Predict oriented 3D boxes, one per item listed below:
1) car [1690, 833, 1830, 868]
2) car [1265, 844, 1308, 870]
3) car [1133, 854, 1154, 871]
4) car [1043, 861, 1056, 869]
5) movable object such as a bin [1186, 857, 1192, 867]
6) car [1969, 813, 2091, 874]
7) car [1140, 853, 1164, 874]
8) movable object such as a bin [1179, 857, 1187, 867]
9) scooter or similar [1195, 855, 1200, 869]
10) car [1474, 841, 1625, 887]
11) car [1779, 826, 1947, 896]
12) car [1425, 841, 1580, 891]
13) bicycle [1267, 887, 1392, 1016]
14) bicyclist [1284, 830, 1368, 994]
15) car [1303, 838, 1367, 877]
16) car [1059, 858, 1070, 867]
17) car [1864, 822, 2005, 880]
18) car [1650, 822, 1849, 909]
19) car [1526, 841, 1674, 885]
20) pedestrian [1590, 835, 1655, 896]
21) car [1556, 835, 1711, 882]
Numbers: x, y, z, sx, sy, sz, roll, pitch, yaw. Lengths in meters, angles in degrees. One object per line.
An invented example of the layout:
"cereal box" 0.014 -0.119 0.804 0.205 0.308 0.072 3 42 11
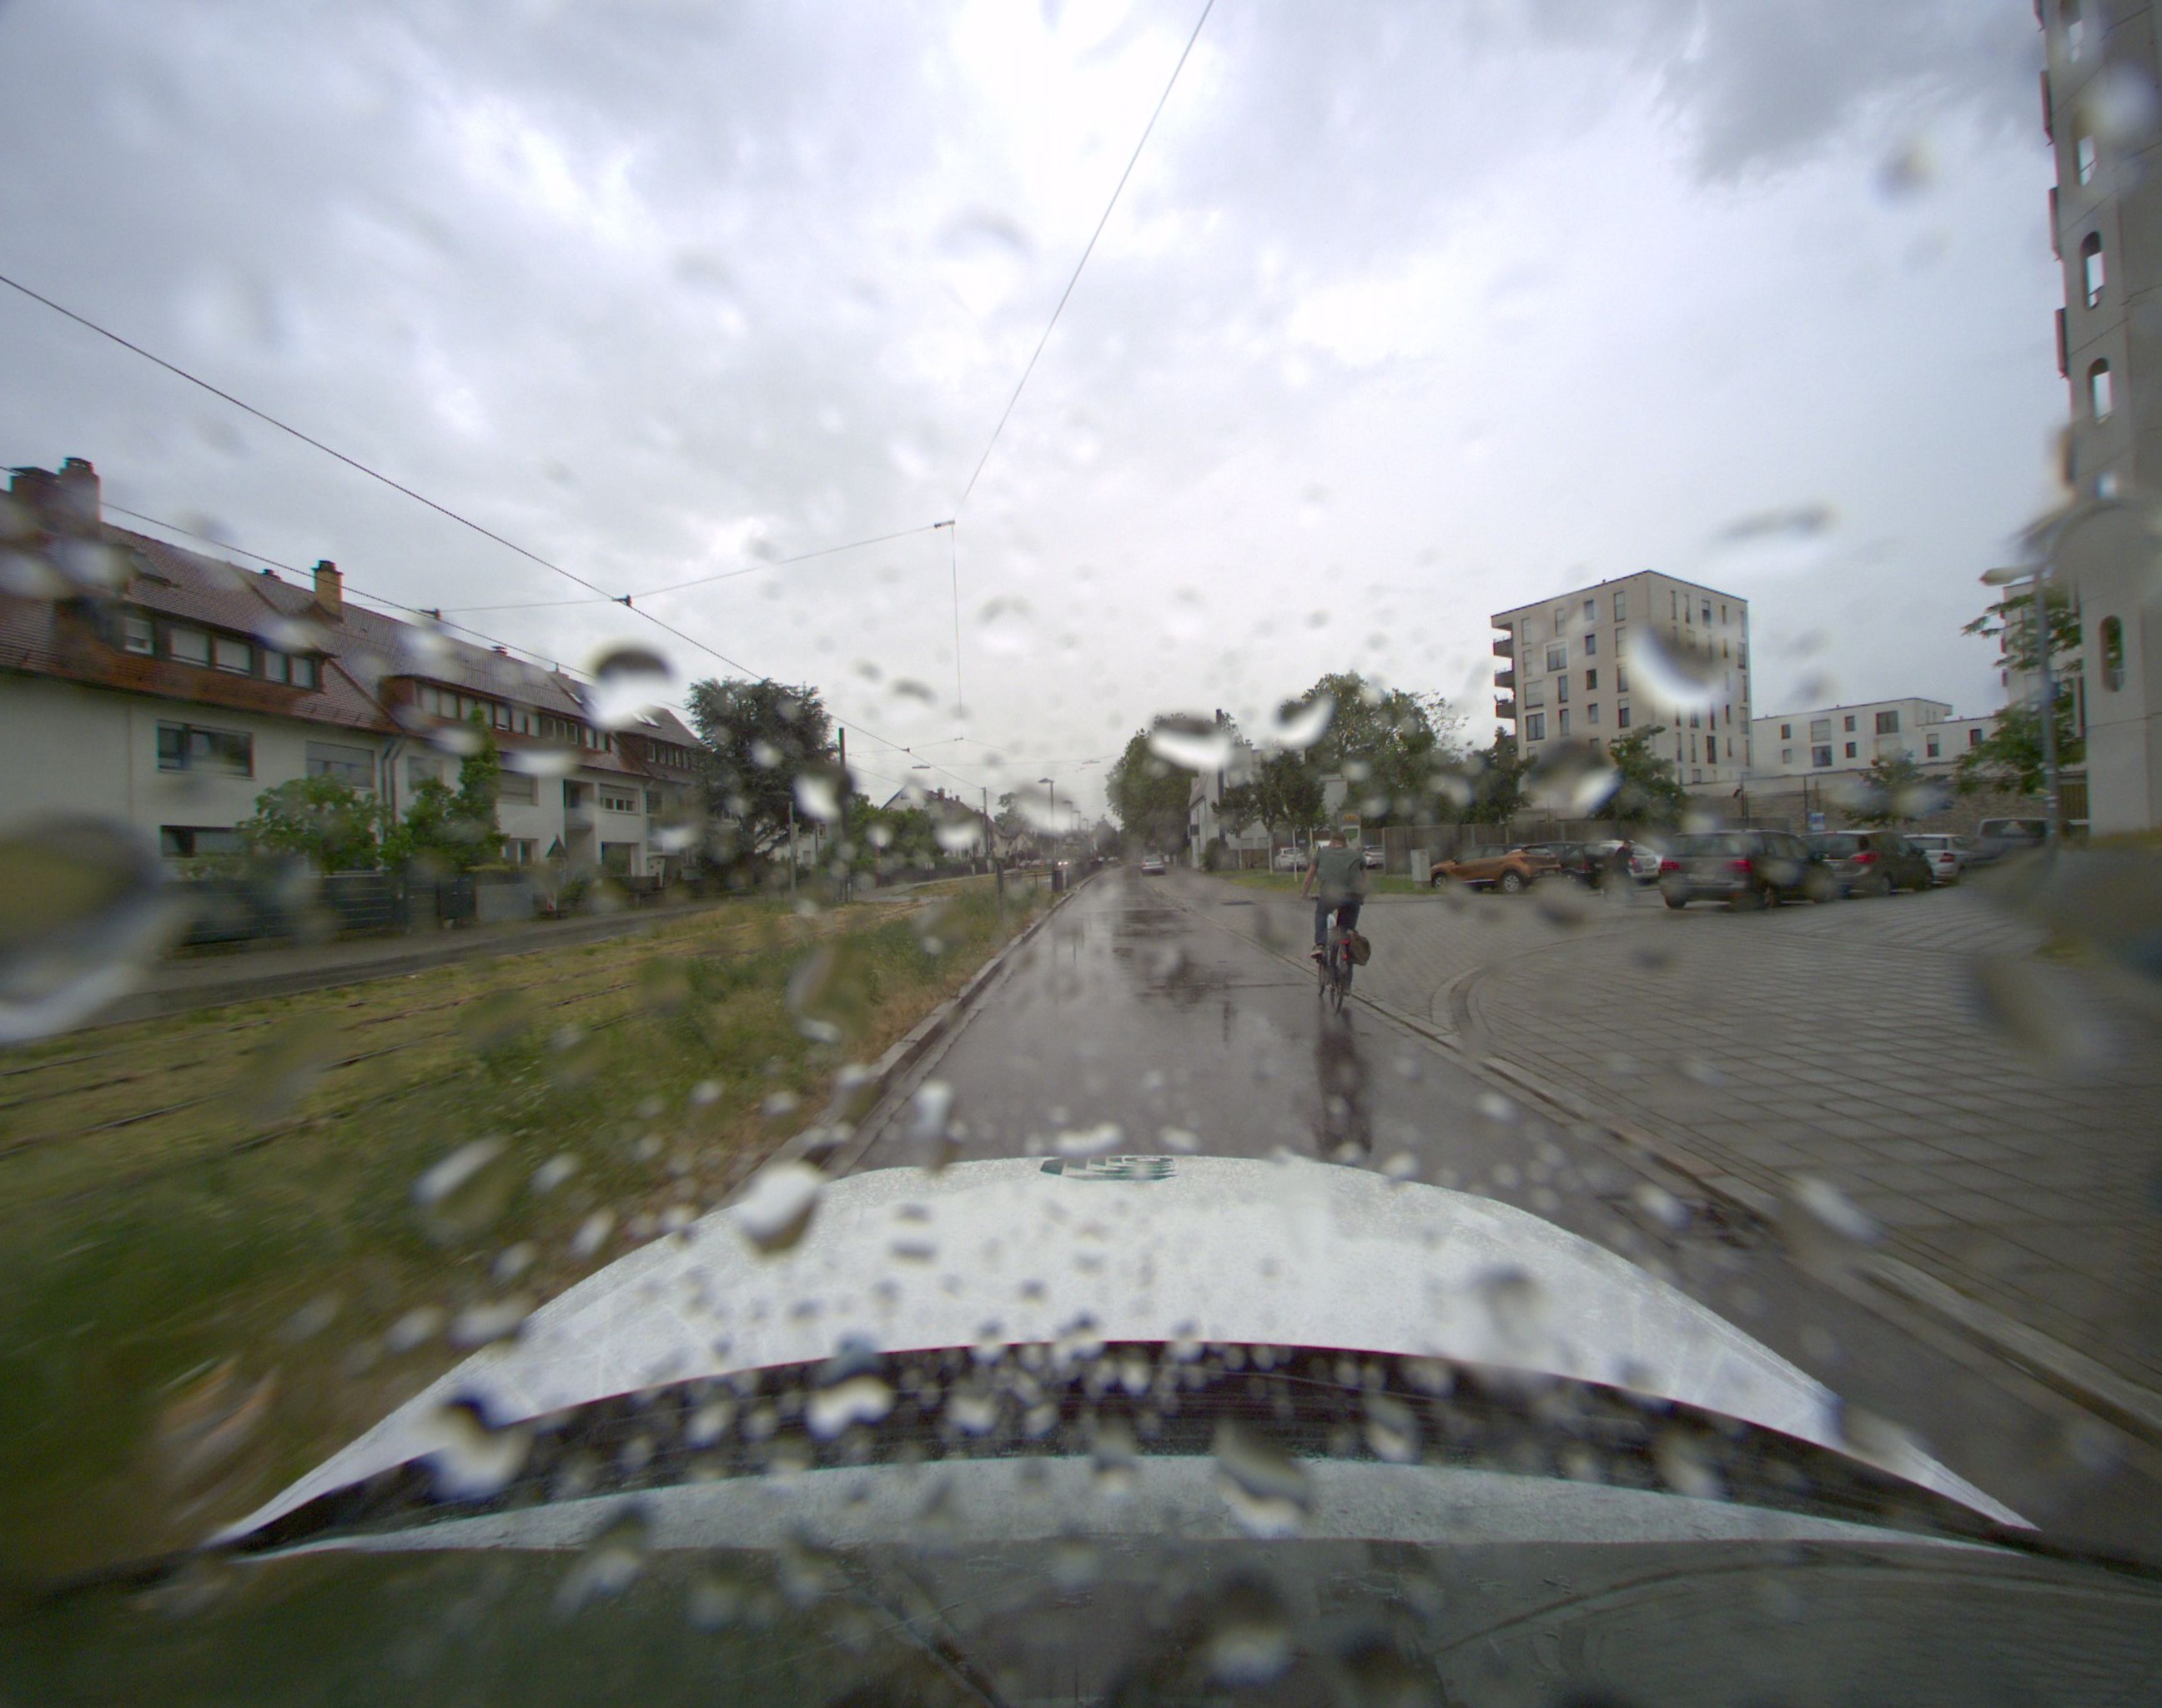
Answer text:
"car" 29.756 -0.138 35.837 1.974 1.431 4.325 -1 0 -27
"car" 13.091 0.159 52.053 1.954 1.535 4.369 -1 0 5
"car" 6.042 0.866 79.055 1.799 1.467 3.797 -5 -1 4
"car" -5.934 2.087 153.646 1.918 1.486 4.007 -1 -1 7
"movable object such as a bin" 11.616 0.821 87.393 0.534 1.022 0.739 -4 -1 3
"car" 31.966 -0.347 27.413 4.291 1.918 1.975 0 0 -31
"car" 5.494 0.758 63.011 1.643 1.405 4.654 -5 -1 4
"movable object such as a bin" 11.025 0.843 88.252 0.689 1.022 0.825 -4 -1 3
"scooter or similar" 8.831 0.608 61.679 0.331 1.085 1.399 -1 -1 9
"car" 15.651 0.346 27.431 2.004 1.441 3.966 -1 -1 -26
"car" 18.824 0.141 19.581 4.124 1.533 1.798 0 0 -29
"car" 13.348 0.386 26.022 2.004 1.441 3.966 -1 -1 -26
"bicycle" 2.446 0.905 8.242 0.535 1.093 1.945 -1 -1 -4
"bicyclist" 2.453 0.560 8.222 0.533 1.559 0.771 -1 -1 -5
"car" 12.310 0.140 39.787 1.954 1.784 4.903 -1 0 5
"car" -3.033 1.585 151.577 1.626 1.493 4.004 -1 -1 4
"car" 23.696 -0.096 22.593 3.807 1.475 1.798 0 0 -29
"car" 13.877 0.202 16.867 4.124 1.616 1.798 0 0 -29
"car" 18.321 0.346 28.947 2.004 1.441 3.966 -1 -1 -26
"pedestrian" 13.815 0.288 20.790 0.840 1.517 1.085 0 -1 -28
"car" 20.376 0.164 30.217 1.977 1.586 4.319 -1 0 -32
